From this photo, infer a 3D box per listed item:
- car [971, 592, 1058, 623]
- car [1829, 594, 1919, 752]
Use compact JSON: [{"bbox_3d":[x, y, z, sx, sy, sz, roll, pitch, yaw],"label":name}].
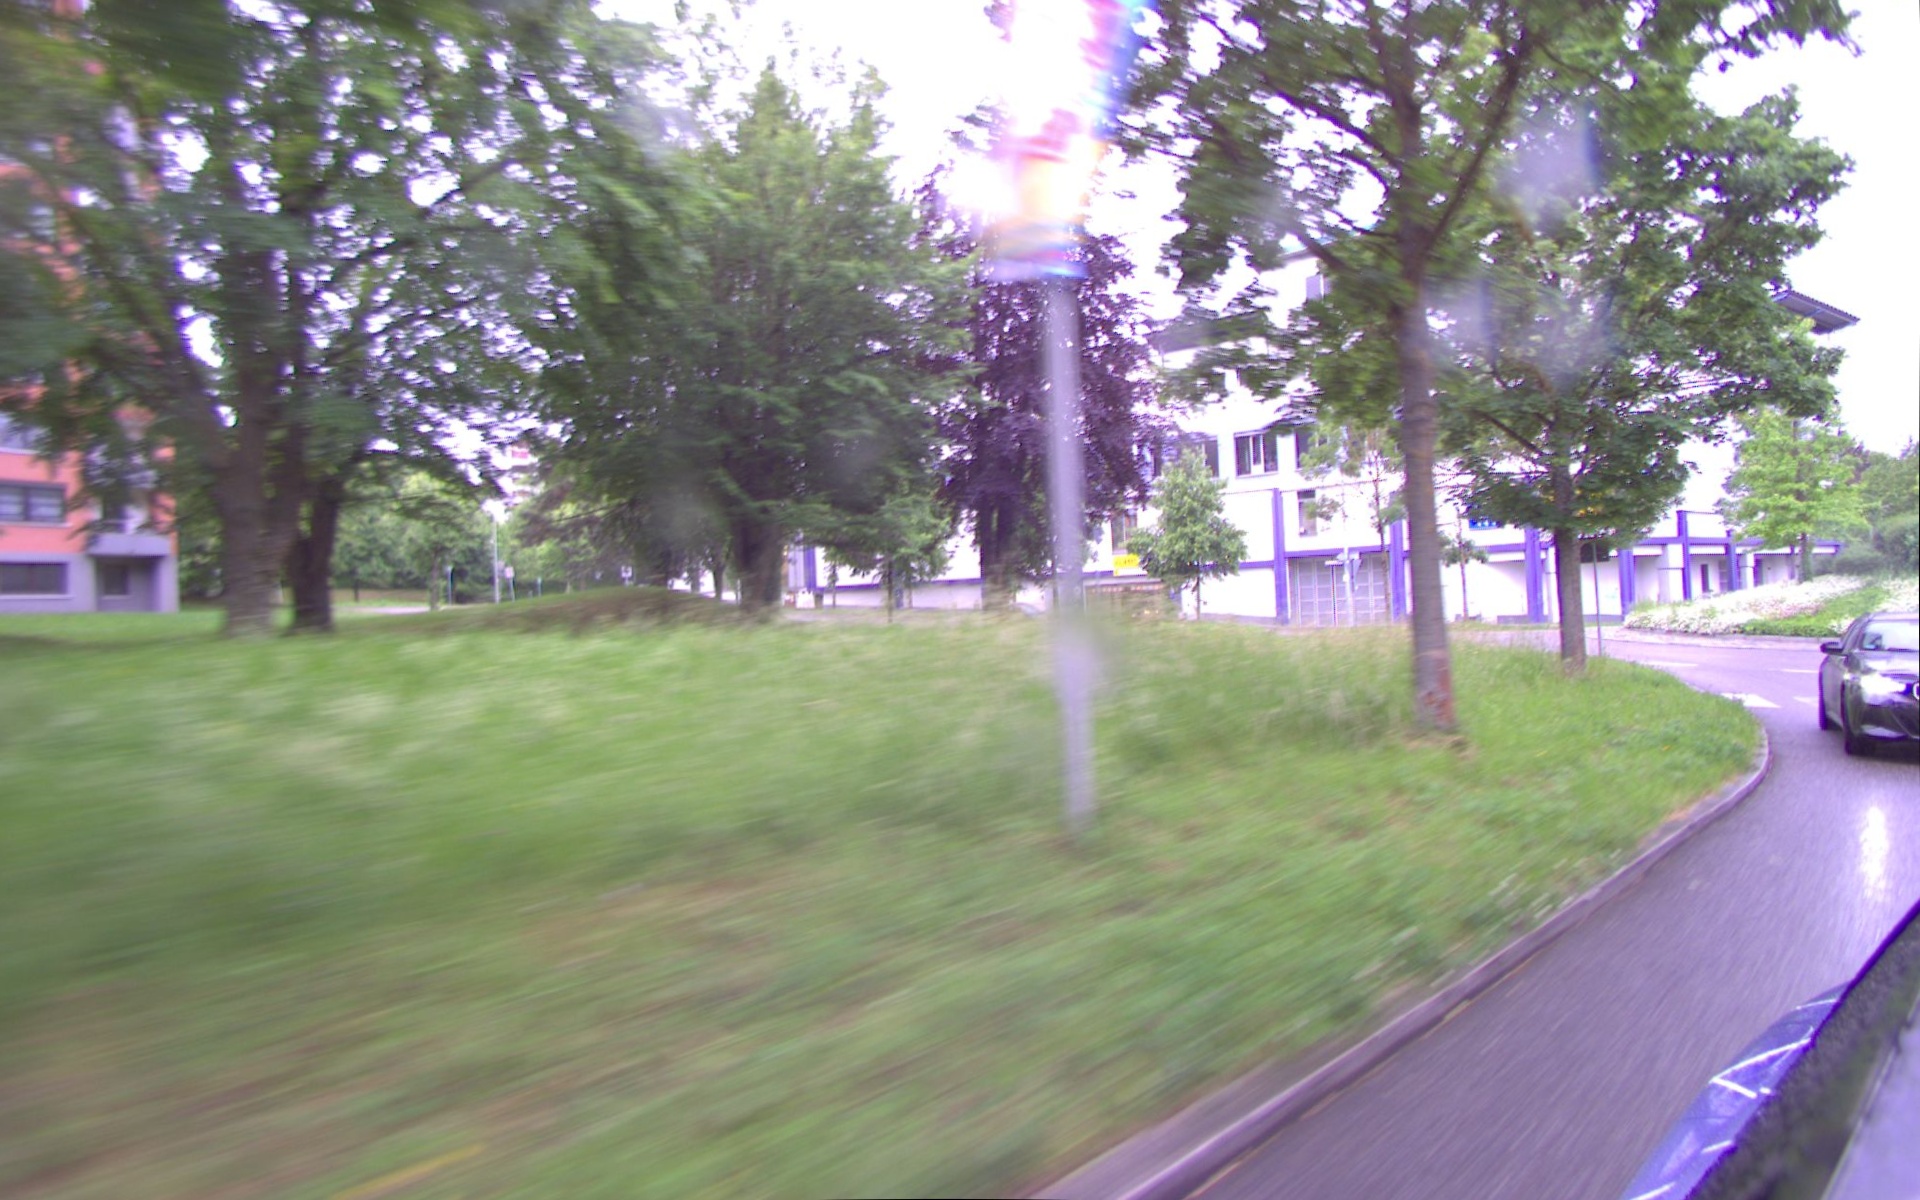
[{"bbox_3d":[2.684,0.344,50.186,3.968,1.427,1.780,1,1,31],"label":"car"},{"bbox_3d":[10.768,0.689,10.990,1.837,1.499,3.944,-1,0,39],"label":"car"}]
